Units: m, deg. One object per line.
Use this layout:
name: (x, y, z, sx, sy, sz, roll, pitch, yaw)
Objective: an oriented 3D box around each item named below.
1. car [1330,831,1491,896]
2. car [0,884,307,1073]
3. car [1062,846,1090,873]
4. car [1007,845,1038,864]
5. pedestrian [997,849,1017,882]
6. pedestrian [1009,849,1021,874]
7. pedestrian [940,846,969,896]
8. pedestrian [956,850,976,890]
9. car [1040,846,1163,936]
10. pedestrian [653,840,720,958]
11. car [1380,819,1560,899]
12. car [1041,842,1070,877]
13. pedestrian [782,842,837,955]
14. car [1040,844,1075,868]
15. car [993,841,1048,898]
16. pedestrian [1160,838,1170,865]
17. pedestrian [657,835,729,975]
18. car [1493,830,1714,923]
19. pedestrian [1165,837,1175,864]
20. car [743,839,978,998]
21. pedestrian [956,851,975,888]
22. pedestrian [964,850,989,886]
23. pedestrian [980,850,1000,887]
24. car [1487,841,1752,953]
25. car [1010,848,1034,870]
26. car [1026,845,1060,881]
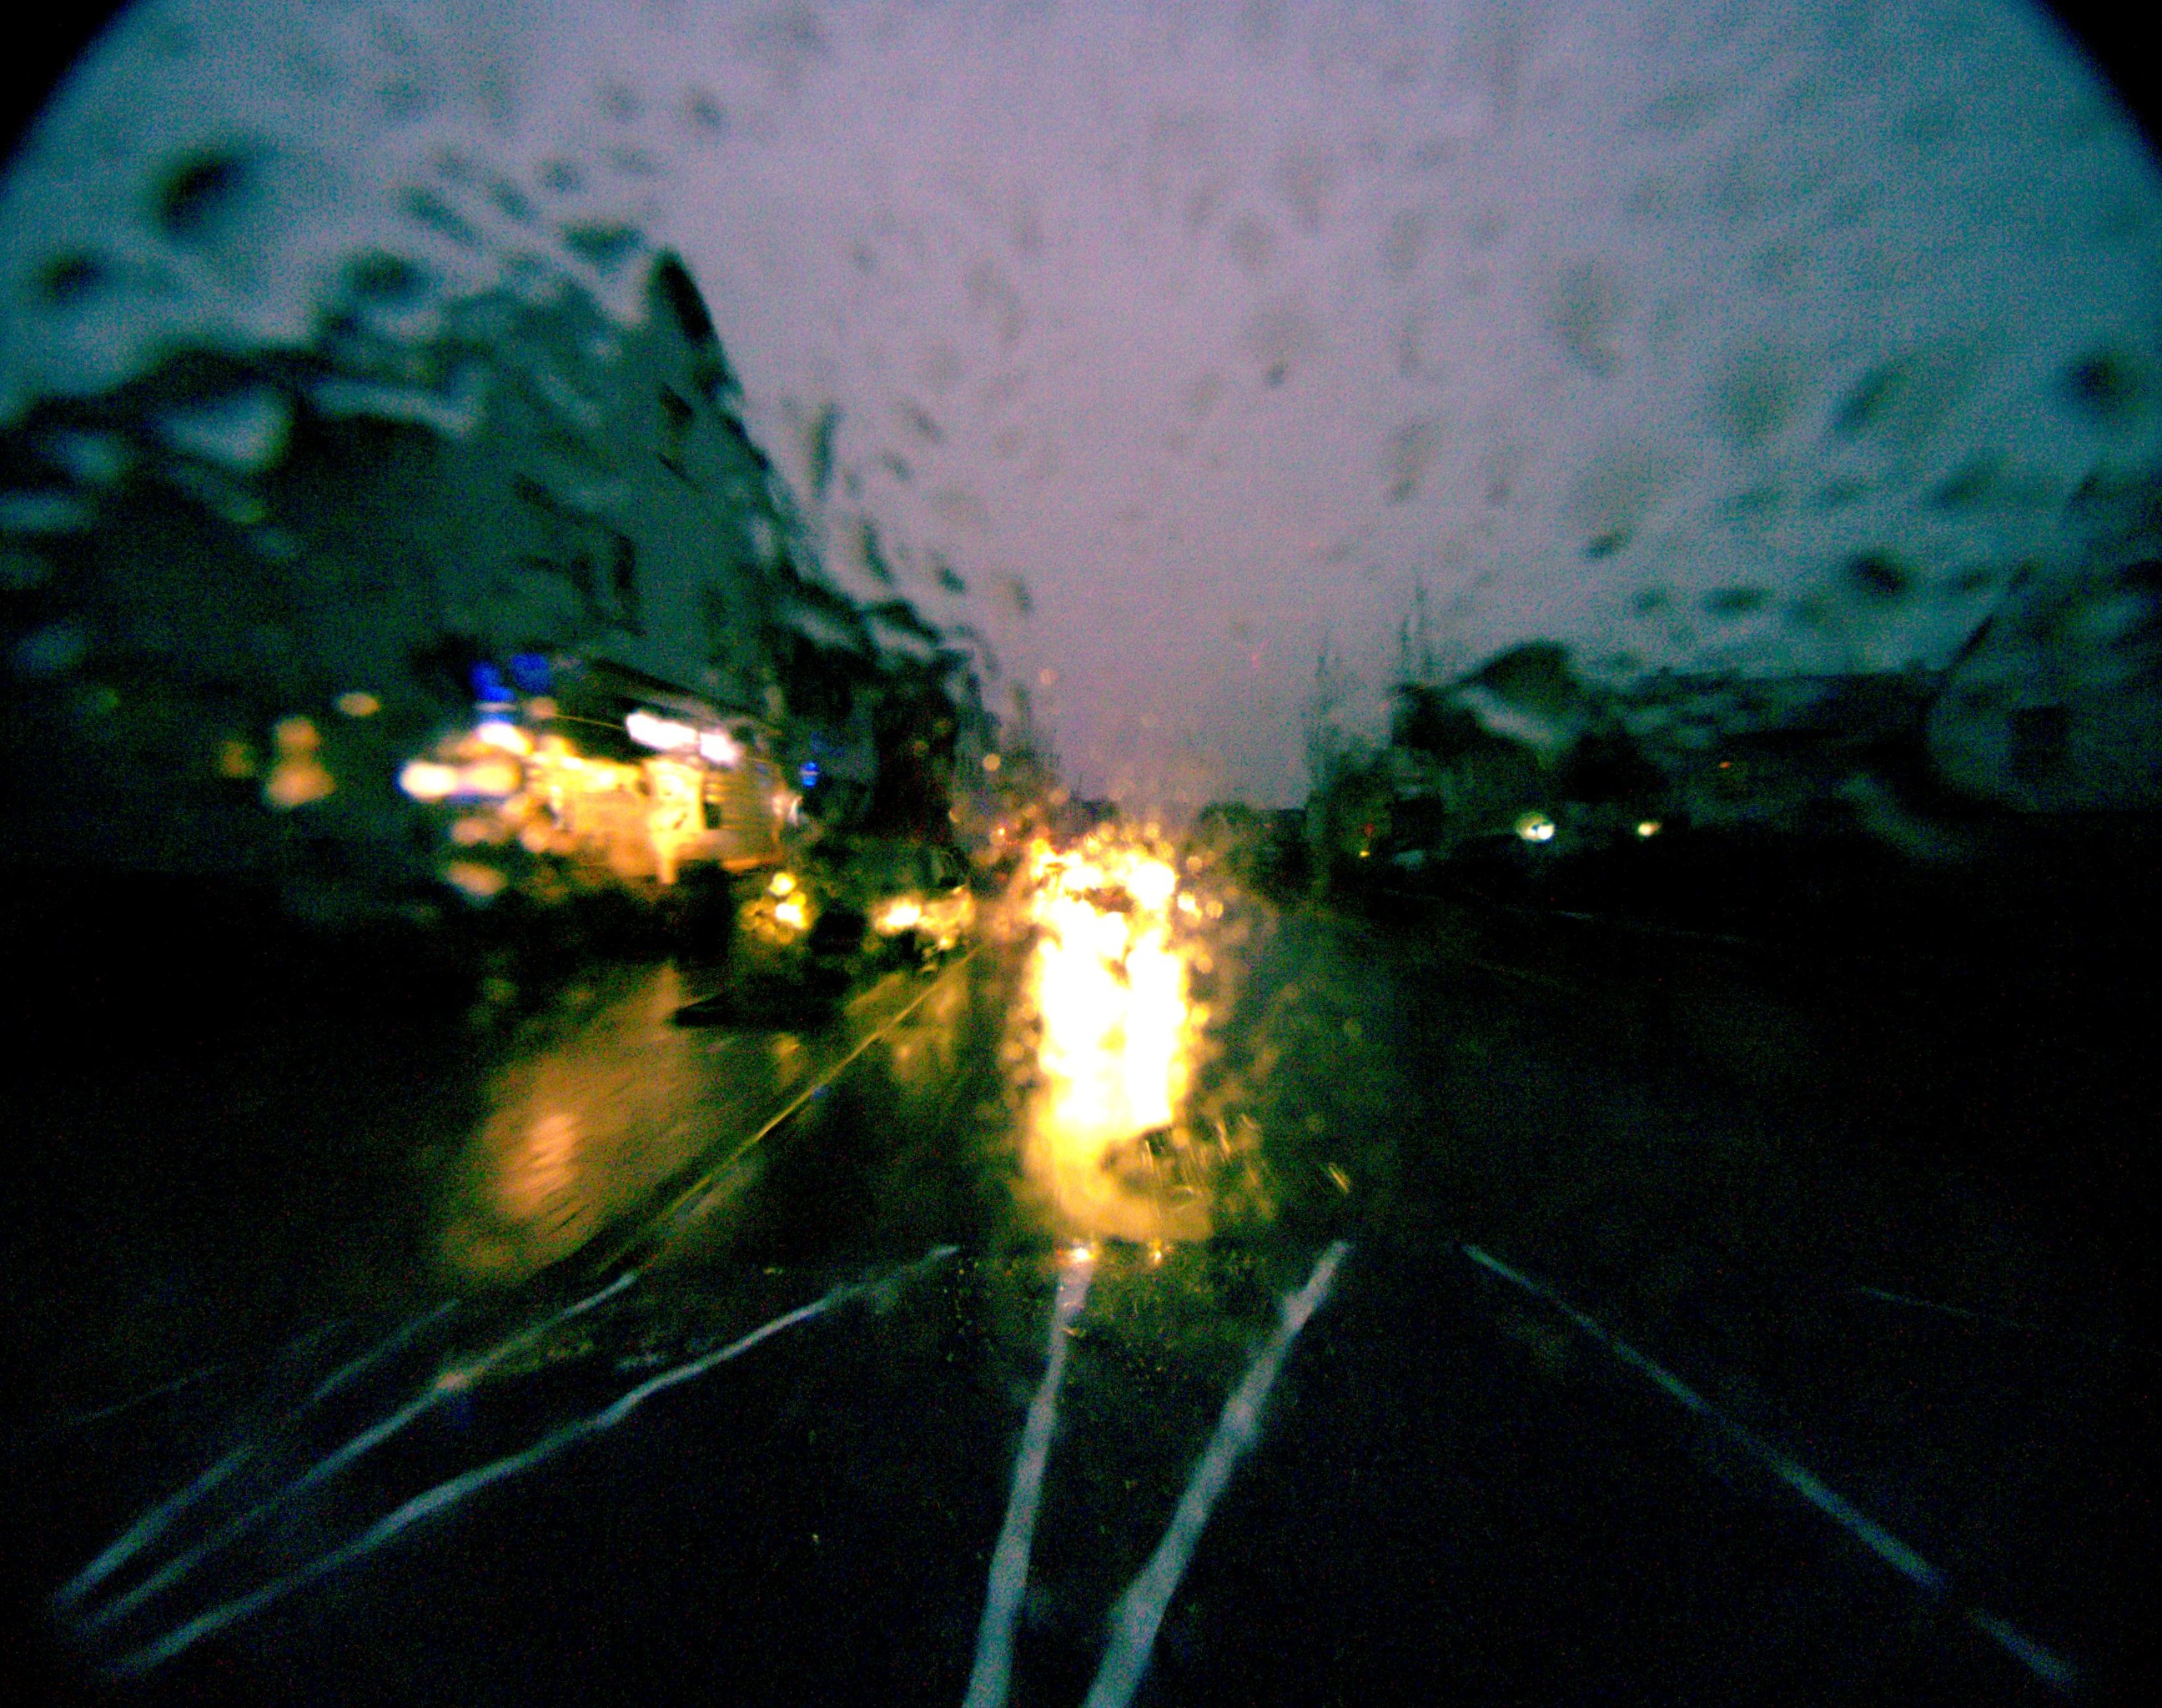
car: (9.873, 0.276, 23.004, 3.997, 1.838, 1.976, -1, 0, 0)
car: (-9.657, 1.026, 7.157, 3.555, 1.378, 1.662, 0, 0, 12)
car: (-0.446, 0.410, 58.079, 1.999, 2.002, 4.773, -1, 0, -2)
car: (-6.203, 0.057, 79.592, 2.002, 2.002, 4.300, -1, 0, -22)
pedestrian: (-3.963, 0.594, 40.806, 0.860, 1.713, 0.929, -2, 1, 1)
pedestrian: (-4.229, 0.466, 48.618, 0.656, 1.596, 0.723, -1, 1, 3)
pedestrian: (-4.485, 0.599, 27.076, 0.819, 1.754, 1.060, -1, 1, 0)
pedestrian: (-4.686, 0.632, 30.882, 0.656, 1.596, 0.723, -1, 1, 3)
car: (0.595, 0.673, 16.795, 2.269, 1.633, 5.067, -1, 1, 5)
pedestrian: (-5.908, 0.654, 11.403, 0.609, 1.711, 0.651, 1, 0, 6)
car: (10.129, 0.129, 19.983, 3.805, 1.940, 1.749, 1, 0, 0)
car: (-1.514, 0.305, 45.796, 1.531, 2.002, 4.000, -1, 0, 1)
pedestrian: (-4.238, 0.681, 11.873, 0.650, 1.711, 0.469, 1, 0, 6)
car: (-2.098, 0.153, 67.300, 1.868, 2.002, 3.837, -1, 0, -23)
car: (-2.234, 0.564, 28.860, 1.748, 2.002, 3.807, 1, 0, 0)
pedestrian: (6.389, -0.219, 57.701, 0.674, 2.002, 0.604, -2, 1, 0)
pedestrian: (-5.138, 0.656, 10.087, 0.649, 1.786, 0.508, 1, 0, 12)
car: (11.817, 0.490, 17.371, 3.805, 1.940, 1.749, 1, 0, 0)
pedestrian: (6.852, -0.272, 58.405, 0.666, 2.020, 0.548, -2, 0, -2)
car: (-2.802, 0.722, 10.855, 1.998, 1.774, 4.519, -1, 0, 0)
pedestrian: (-5.001, 0.662, 32.855, 0.656, 1.596, 0.723, -1, 1, 3)
pedestrian: (-5.160, 0.674, 37.542, 0.974, 1.713, 1.026, -2, 1, 1)
pedestrian: (-3.955, 0.620, 32.938, 0.731, 1.596, 0.723, -1, 1, 3)
car: (10.154, 0.774, 14.542, 3.805, 1.940, 1.749, 1, 0, 0)
car: (-5.113, 0.387, 65.347, 1.782, 1.805, 3.997, -1, 0, -8)
car: (-1.982, 0.470, 40.615, 1.531, 1.805, 4.000, -1, 0, 1)
